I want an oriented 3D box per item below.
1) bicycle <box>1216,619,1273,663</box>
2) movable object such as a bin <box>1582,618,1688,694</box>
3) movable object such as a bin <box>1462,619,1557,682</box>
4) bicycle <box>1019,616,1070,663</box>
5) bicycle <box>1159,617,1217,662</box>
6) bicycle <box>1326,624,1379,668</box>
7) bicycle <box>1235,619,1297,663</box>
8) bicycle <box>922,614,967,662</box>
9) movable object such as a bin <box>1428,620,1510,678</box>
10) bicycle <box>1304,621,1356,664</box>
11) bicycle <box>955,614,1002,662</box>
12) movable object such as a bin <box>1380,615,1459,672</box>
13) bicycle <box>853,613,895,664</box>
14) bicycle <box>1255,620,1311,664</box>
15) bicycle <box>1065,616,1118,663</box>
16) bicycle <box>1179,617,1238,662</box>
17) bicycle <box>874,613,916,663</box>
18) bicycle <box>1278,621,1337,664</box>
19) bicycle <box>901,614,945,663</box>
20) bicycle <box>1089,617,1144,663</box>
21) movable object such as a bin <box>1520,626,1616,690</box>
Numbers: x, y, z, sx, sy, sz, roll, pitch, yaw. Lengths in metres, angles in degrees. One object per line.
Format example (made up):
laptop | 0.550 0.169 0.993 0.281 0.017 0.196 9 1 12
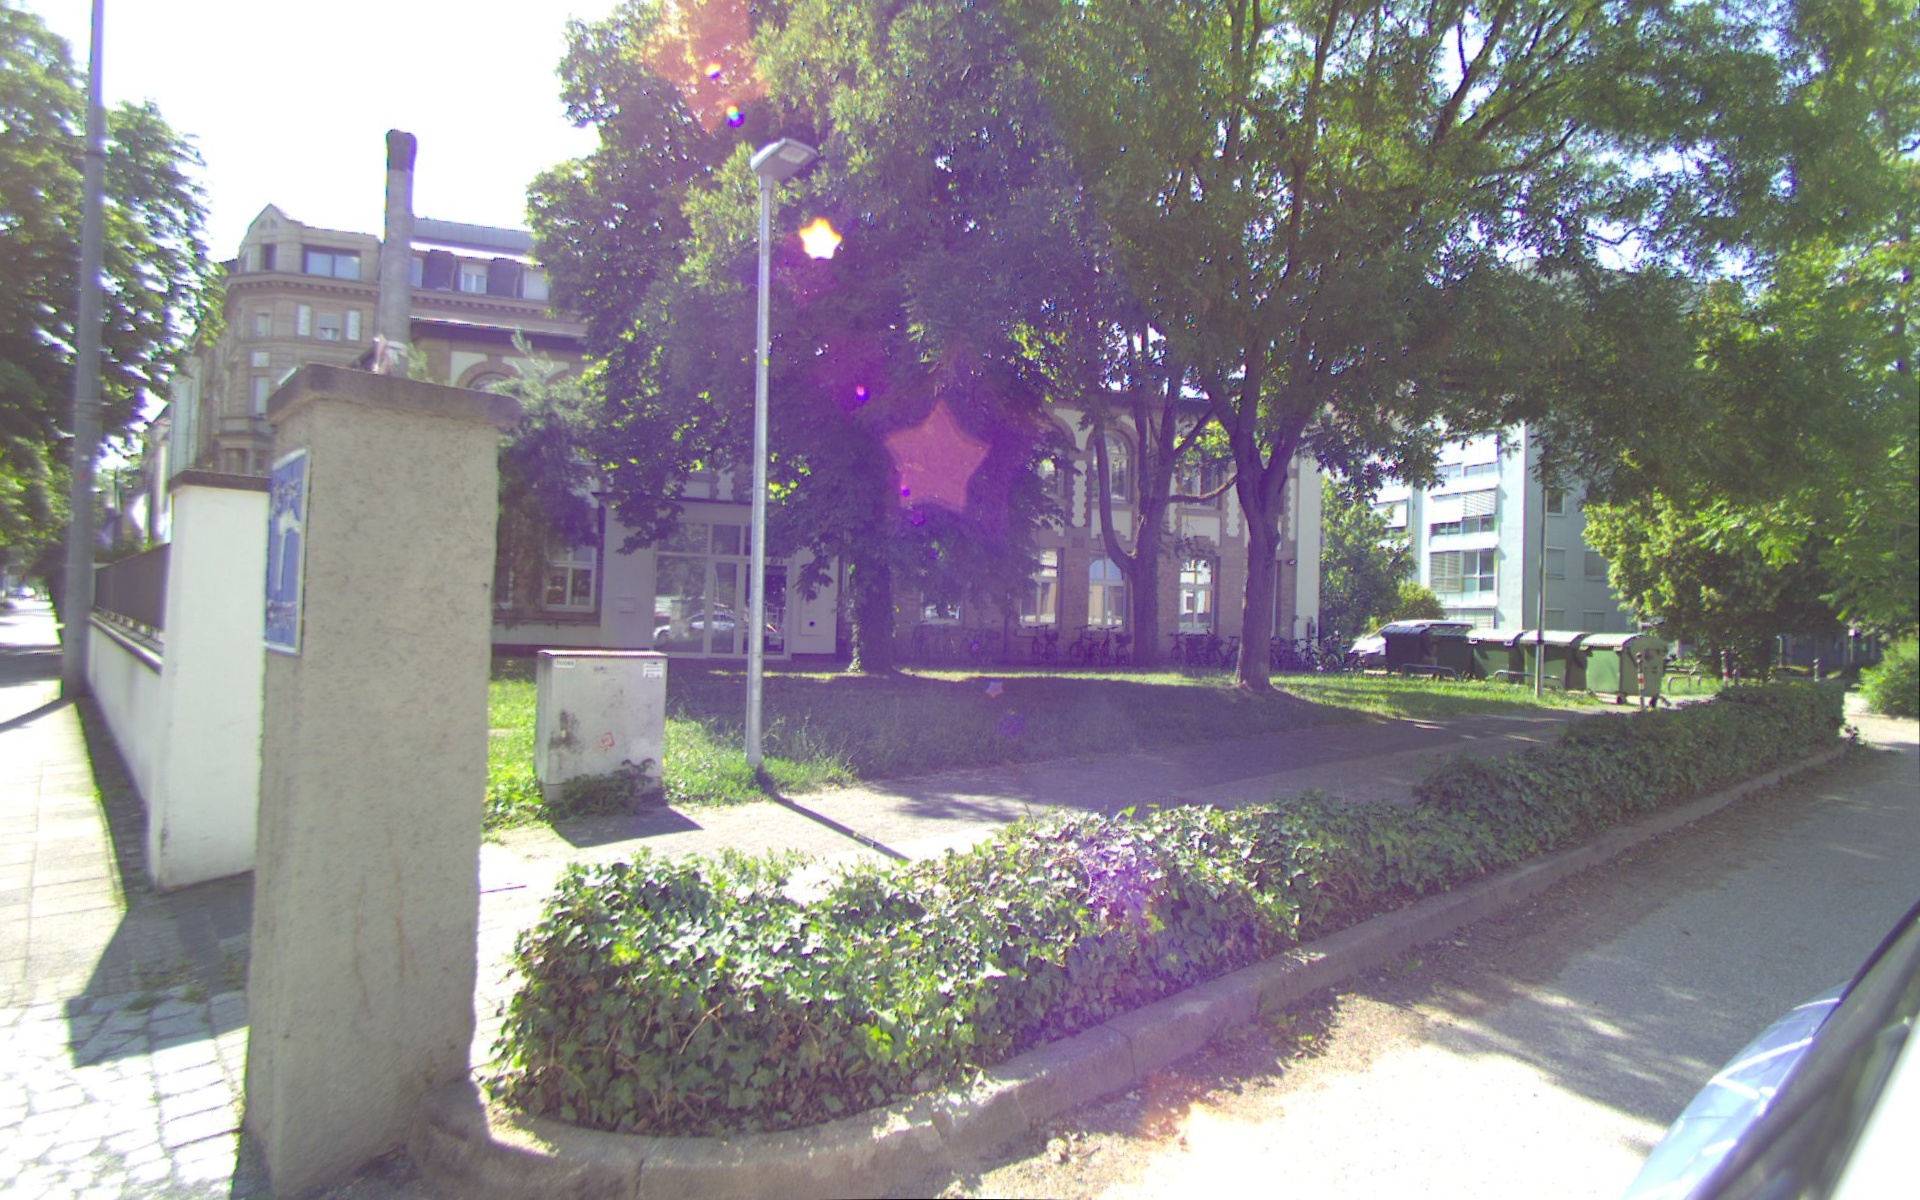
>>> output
bicycle | 7.917 1.124 28.270 0.575 1.176 1.925 2 -1 -17
movable object such as a bin | 13.774 1.122 20.700 1.191 1.481 1.393 1 -1 -5
movable object such as a bin | 12.755 1.166 23.529 1.190 1.379 1.505 2 -1 -20
bicycle | 2.205 1.027 26.748 0.575 1.176 2.107 2 -1 -17
bicycle | 6.251 1.063 27.821 0.575 1.176 2.107 2 -1 -17
bicycle | 11.209 1.307 28.950 0.546 1.176 1.947 1 -1 -7
bicycle | 8.598 1.141 28.551 0.575 1.176 2.107 2 -1 -17
bicycle | -0.423 0.957 26.108 0.575 1.176 2.107 2 -1 -17
movable object such as a bin | 12.584 1.192 25.059 1.190 1.366 1.355 2 -1 -20
bicycle | 10.584 1.204 29.022 0.496 1.176 1.808 2 -1 -12
bicycle | 0.469 0.976 26.310 0.575 1.176 2.107 2 -1 -17
movable object such as a bin | 12.029 1.127 26.535 1.224 1.427 1.439 2 -1 -21
bicycle | -2.153 0.935 24.994 0.575 1.176 2.107 2 -1 -17
bicycle | 9.141 1.168 28.693 0.484 1.176 1.918 2 -1 -17
bicycle | 3.493 1.044 27.097 0.575 1.176 2.107 2 -1 -17
bicycle | 6.862 1.069 28.065 0.575 1.176 2.107 2 -1 -17
bicycle | -1.666 0.936 25.605 0.575 1.176 2.107 2 -1 -17
bicycle | 9.933 1.198 28.987 0.600 1.176 1.855 2 -1 -17
bicycle | -0.970 0.952 25.811 0.575 1.176 2.107 2 -1 -17
bicycle | 4.209 1.053 27.351 0.575 1.176 2.107 2 -1 -17
movable object such as a bin | 13.263 1.241 22.113 1.190 1.317 1.358 2 -1 -20
